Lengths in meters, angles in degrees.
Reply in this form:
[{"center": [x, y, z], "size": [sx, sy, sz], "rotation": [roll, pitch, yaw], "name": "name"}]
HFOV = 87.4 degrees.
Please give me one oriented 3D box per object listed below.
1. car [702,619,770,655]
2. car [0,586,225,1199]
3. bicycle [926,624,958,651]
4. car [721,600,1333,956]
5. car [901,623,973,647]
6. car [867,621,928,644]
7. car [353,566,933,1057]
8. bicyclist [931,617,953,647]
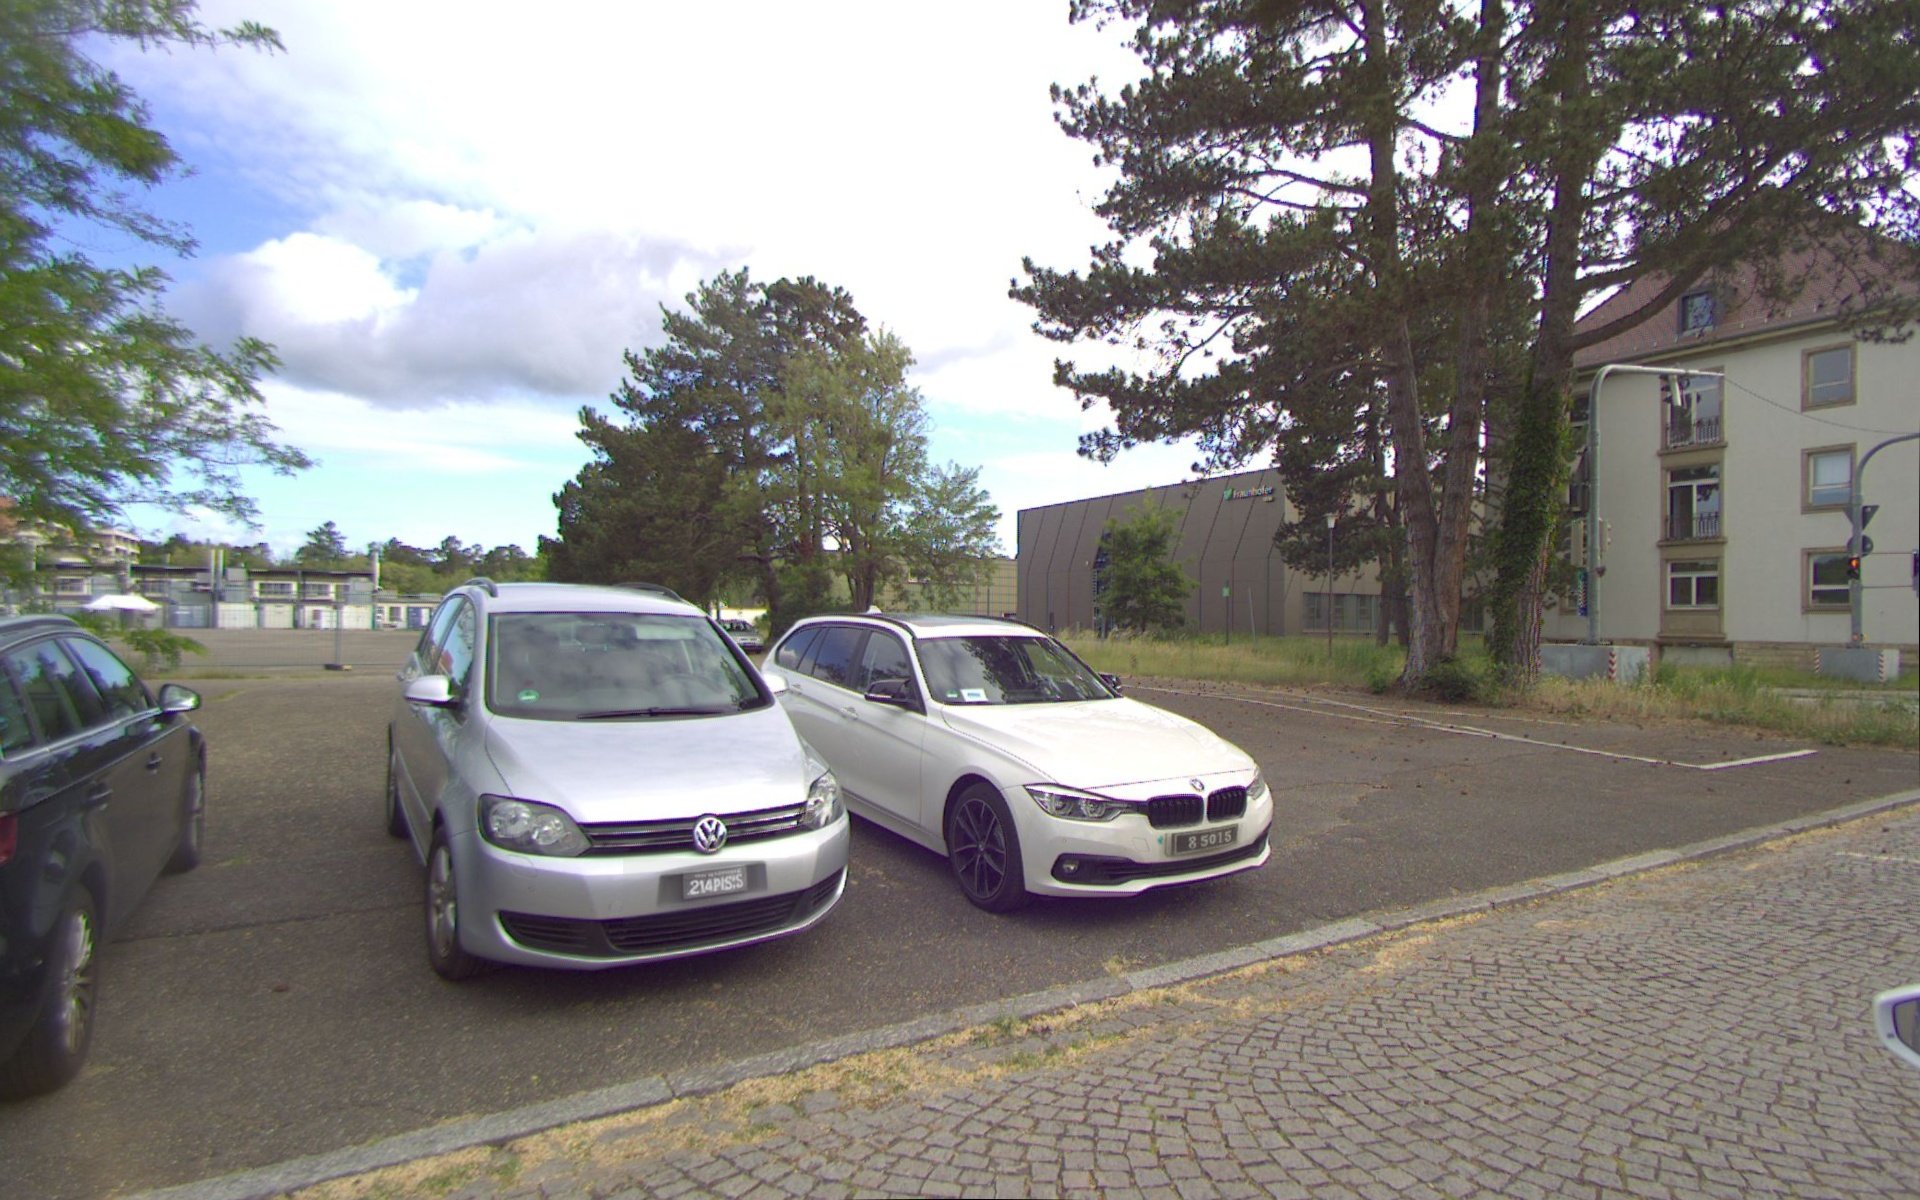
[{"center": [-9.913, 1.607, 44.244], "size": [1.716, 1.451, 4.126], "rotation": [2, -1, -31], "name": "car"}, {"center": [-4.187, 0.711, 3.955], "size": [1.703, 1.443, 4.410], "rotation": [1, 1, -32], "name": "car"}, {"center": [-1.011, 2.049, 54.963], "size": [0.817, 1.395, 2.025], "rotation": [2, 0, -31], "name": "bicycle"}, {"center": [0.002, 0.796, 6.972], "size": [1.846, 1.508, 4.713], "rotation": [0, 1, -32], "name": "car"}, {"center": [-1.485, 2.294, 66.344], "size": [4.447, 1.482, 1.917], "rotation": [-1, 0, -33], "name": "car"}, {"center": [-4.546, 2.353, 73.127], "size": [4.076, 1.593, 1.749], "rotation": [-1, 0, -33], "name": "car"}, {"center": [-2.131, 0.676, 5.624], "size": [1.854, 1.619, 4.333], "rotation": [1, 0, -35], "name": "car"}, {"center": [-0.975, 1.751, 54.936], "size": [0.890, 1.562, 0.860], "rotation": [2, 0, -32], "name": "bicyclist"}]
